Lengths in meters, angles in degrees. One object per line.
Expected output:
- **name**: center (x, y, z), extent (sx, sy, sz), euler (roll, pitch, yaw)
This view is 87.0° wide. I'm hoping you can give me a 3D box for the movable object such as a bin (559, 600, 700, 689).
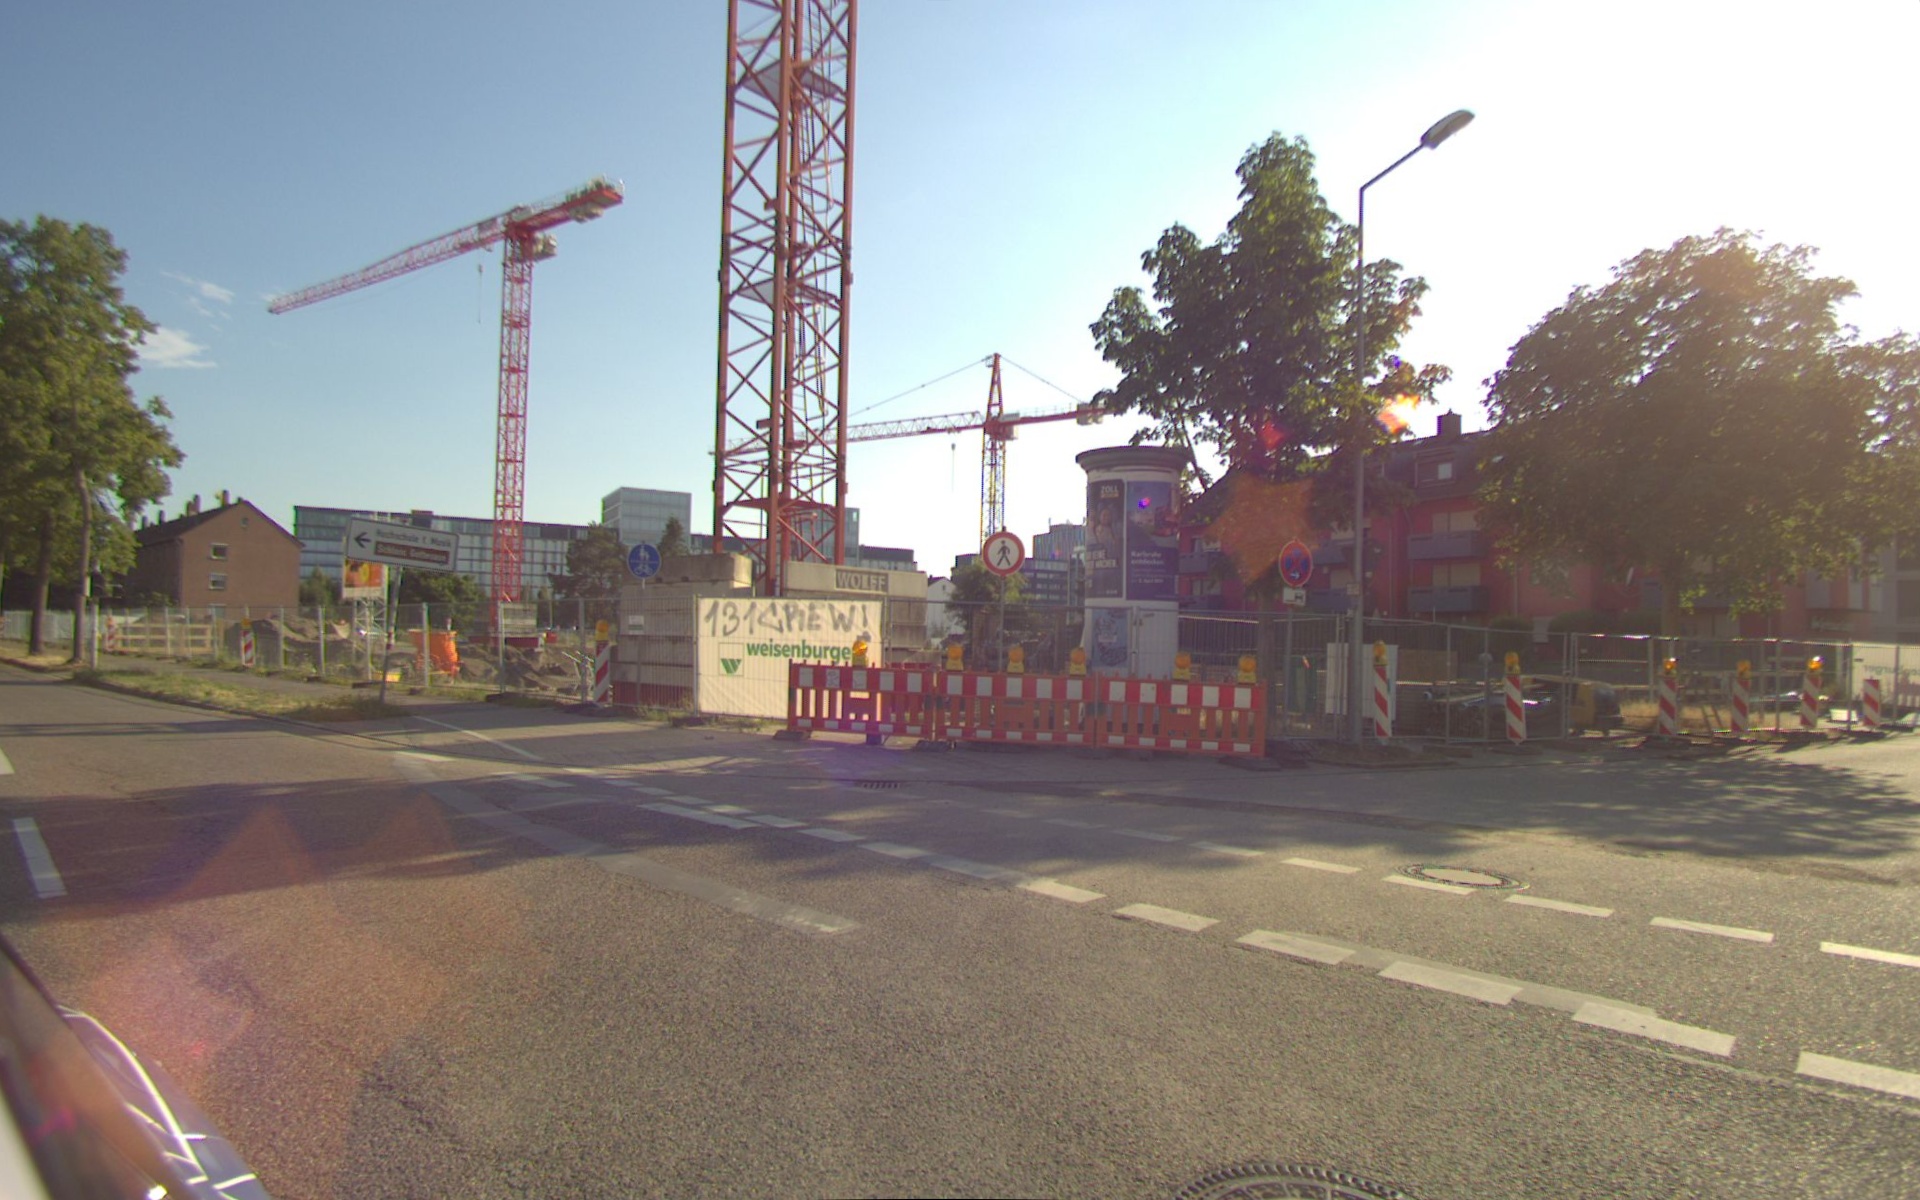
- **movable object such as a bin**: center (-21.378, 2.613, 64.702), extent (4.037, 5.102, 12.240), euler (1, 0, -41)
